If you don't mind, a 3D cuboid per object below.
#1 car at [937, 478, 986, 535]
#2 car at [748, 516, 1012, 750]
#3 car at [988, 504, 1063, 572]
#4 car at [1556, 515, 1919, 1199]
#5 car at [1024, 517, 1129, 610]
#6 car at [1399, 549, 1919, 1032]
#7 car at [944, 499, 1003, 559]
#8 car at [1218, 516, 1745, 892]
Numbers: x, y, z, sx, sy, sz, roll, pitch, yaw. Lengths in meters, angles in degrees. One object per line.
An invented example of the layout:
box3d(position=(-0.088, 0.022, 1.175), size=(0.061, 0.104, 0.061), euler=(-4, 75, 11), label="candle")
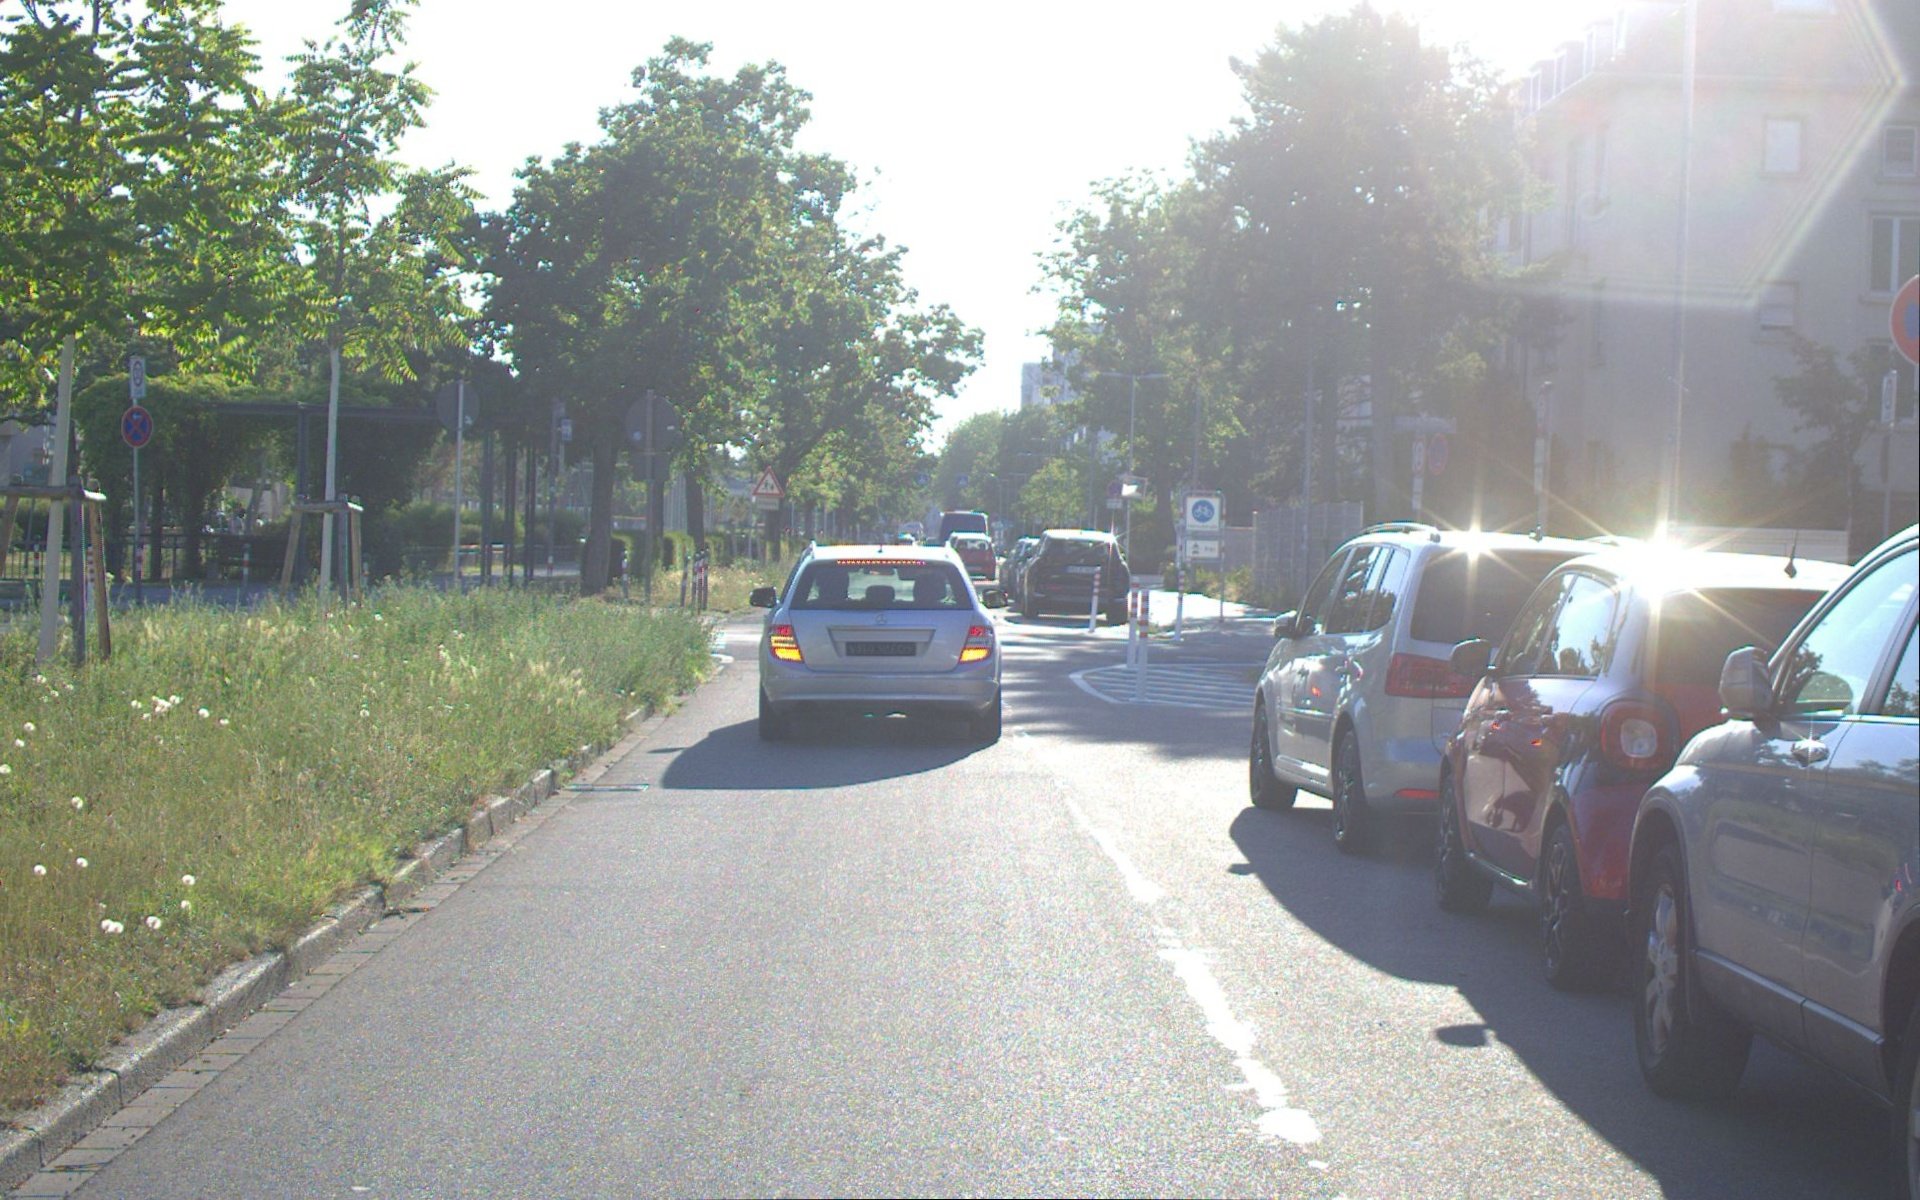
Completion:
box3d(position=(0.042, -3.778, 138.589), size=(1.861, 2.185, 5.070), euler=(2, 2, 0), label="car")
box3d(position=(-0.566, 0.180, 25.867), size=(1.823, 1.561, 4.001), euler=(0, 2, 0), label="car")
box3d(position=(1.611, -1.561, 85.640), size=(1.721, 1.591, 4.000), euler=(2, 2, 0), label="car")
box3d(position=(2.806, 0.634, 8.293), size=(1.777, 1.637, 4.757), euler=(1, 1, -1), label="car")
box3d(position=(2.079, -0.670, 62.250), size=(1.721, 1.591, 4.000), euler=(1, 1, 0), label="car")
box3d(position=(2.833, 0.602, 13.233), size=(1.729, 1.521, 3.735), euler=(0, 2, -1), label="car")
box3d(position=(0.461, -2.514, 120.560), size=(1.988, 2.016, 4.000), euler=(2, 2, 0), label="car")
box3d(position=(2.621, 0.437, 18.410), size=(1.716, 1.633, 4.565), euler=(3, 2, -4), label="car")
